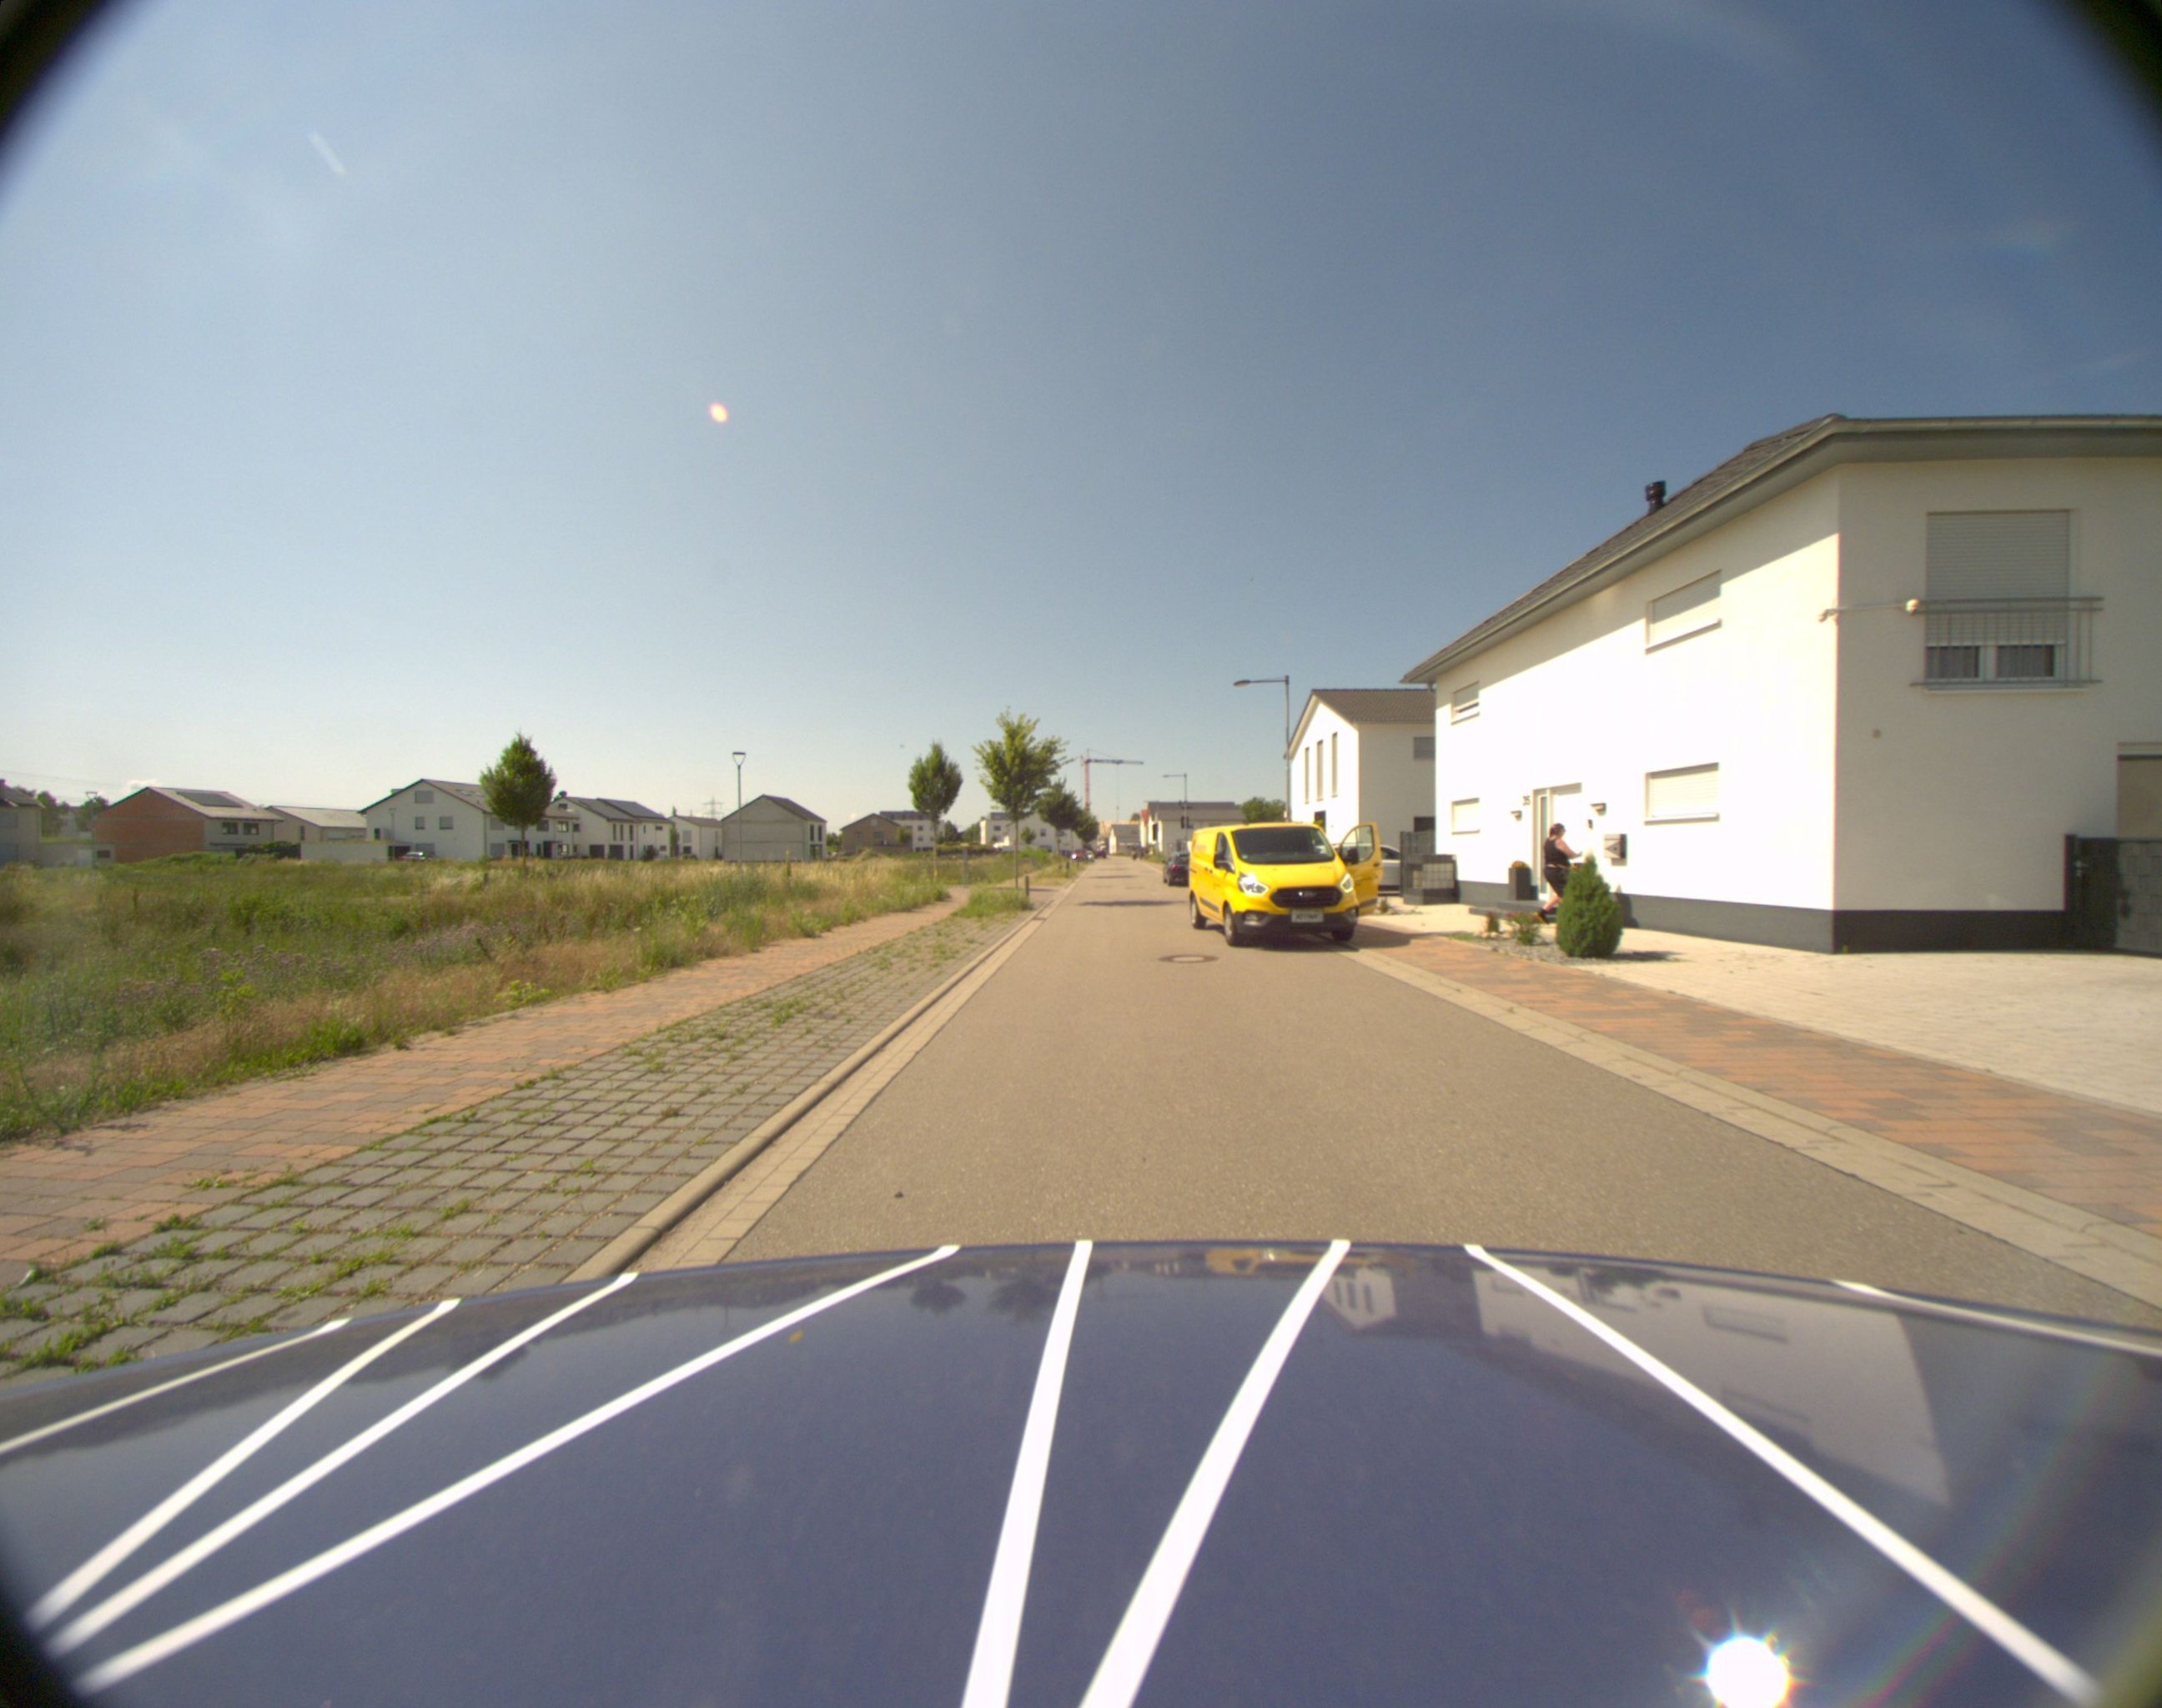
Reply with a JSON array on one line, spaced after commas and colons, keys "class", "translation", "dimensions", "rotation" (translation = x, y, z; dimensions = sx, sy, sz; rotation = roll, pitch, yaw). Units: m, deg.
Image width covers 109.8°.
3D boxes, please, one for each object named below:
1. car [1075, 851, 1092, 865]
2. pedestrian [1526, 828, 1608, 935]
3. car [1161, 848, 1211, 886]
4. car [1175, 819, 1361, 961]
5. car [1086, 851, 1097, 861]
[{"class": "car", "translation": [0.277, 0.414, 84.800], "dimensions": [1.768, 1.483, 4.000], "rotation": [-1, 1, 2]}, {"class": "pedestrian", "translation": [7.913, 0.446, 12.393], "dimensions": [0.931, 1.675, 0.537], "rotation": [-3, 1, 11]}, {"class": "car", "translation": [4.490, 0.534, 33.157], "dimensions": [1.694, 1.464, 4.445], "rotation": [-2, 1, 2]}, {"class": "car", "translation": [3.026, 0.505, 13.447], "dimensions": [1.889, 2.002, 4.839], "rotation": [-2, 1, -2]}, {"class": "car", "translation": [1.428, 0.283, 104.766], "dimensions": [1.493, 1.389, 3.272], "rotation": [-1, 1, 2]}]
